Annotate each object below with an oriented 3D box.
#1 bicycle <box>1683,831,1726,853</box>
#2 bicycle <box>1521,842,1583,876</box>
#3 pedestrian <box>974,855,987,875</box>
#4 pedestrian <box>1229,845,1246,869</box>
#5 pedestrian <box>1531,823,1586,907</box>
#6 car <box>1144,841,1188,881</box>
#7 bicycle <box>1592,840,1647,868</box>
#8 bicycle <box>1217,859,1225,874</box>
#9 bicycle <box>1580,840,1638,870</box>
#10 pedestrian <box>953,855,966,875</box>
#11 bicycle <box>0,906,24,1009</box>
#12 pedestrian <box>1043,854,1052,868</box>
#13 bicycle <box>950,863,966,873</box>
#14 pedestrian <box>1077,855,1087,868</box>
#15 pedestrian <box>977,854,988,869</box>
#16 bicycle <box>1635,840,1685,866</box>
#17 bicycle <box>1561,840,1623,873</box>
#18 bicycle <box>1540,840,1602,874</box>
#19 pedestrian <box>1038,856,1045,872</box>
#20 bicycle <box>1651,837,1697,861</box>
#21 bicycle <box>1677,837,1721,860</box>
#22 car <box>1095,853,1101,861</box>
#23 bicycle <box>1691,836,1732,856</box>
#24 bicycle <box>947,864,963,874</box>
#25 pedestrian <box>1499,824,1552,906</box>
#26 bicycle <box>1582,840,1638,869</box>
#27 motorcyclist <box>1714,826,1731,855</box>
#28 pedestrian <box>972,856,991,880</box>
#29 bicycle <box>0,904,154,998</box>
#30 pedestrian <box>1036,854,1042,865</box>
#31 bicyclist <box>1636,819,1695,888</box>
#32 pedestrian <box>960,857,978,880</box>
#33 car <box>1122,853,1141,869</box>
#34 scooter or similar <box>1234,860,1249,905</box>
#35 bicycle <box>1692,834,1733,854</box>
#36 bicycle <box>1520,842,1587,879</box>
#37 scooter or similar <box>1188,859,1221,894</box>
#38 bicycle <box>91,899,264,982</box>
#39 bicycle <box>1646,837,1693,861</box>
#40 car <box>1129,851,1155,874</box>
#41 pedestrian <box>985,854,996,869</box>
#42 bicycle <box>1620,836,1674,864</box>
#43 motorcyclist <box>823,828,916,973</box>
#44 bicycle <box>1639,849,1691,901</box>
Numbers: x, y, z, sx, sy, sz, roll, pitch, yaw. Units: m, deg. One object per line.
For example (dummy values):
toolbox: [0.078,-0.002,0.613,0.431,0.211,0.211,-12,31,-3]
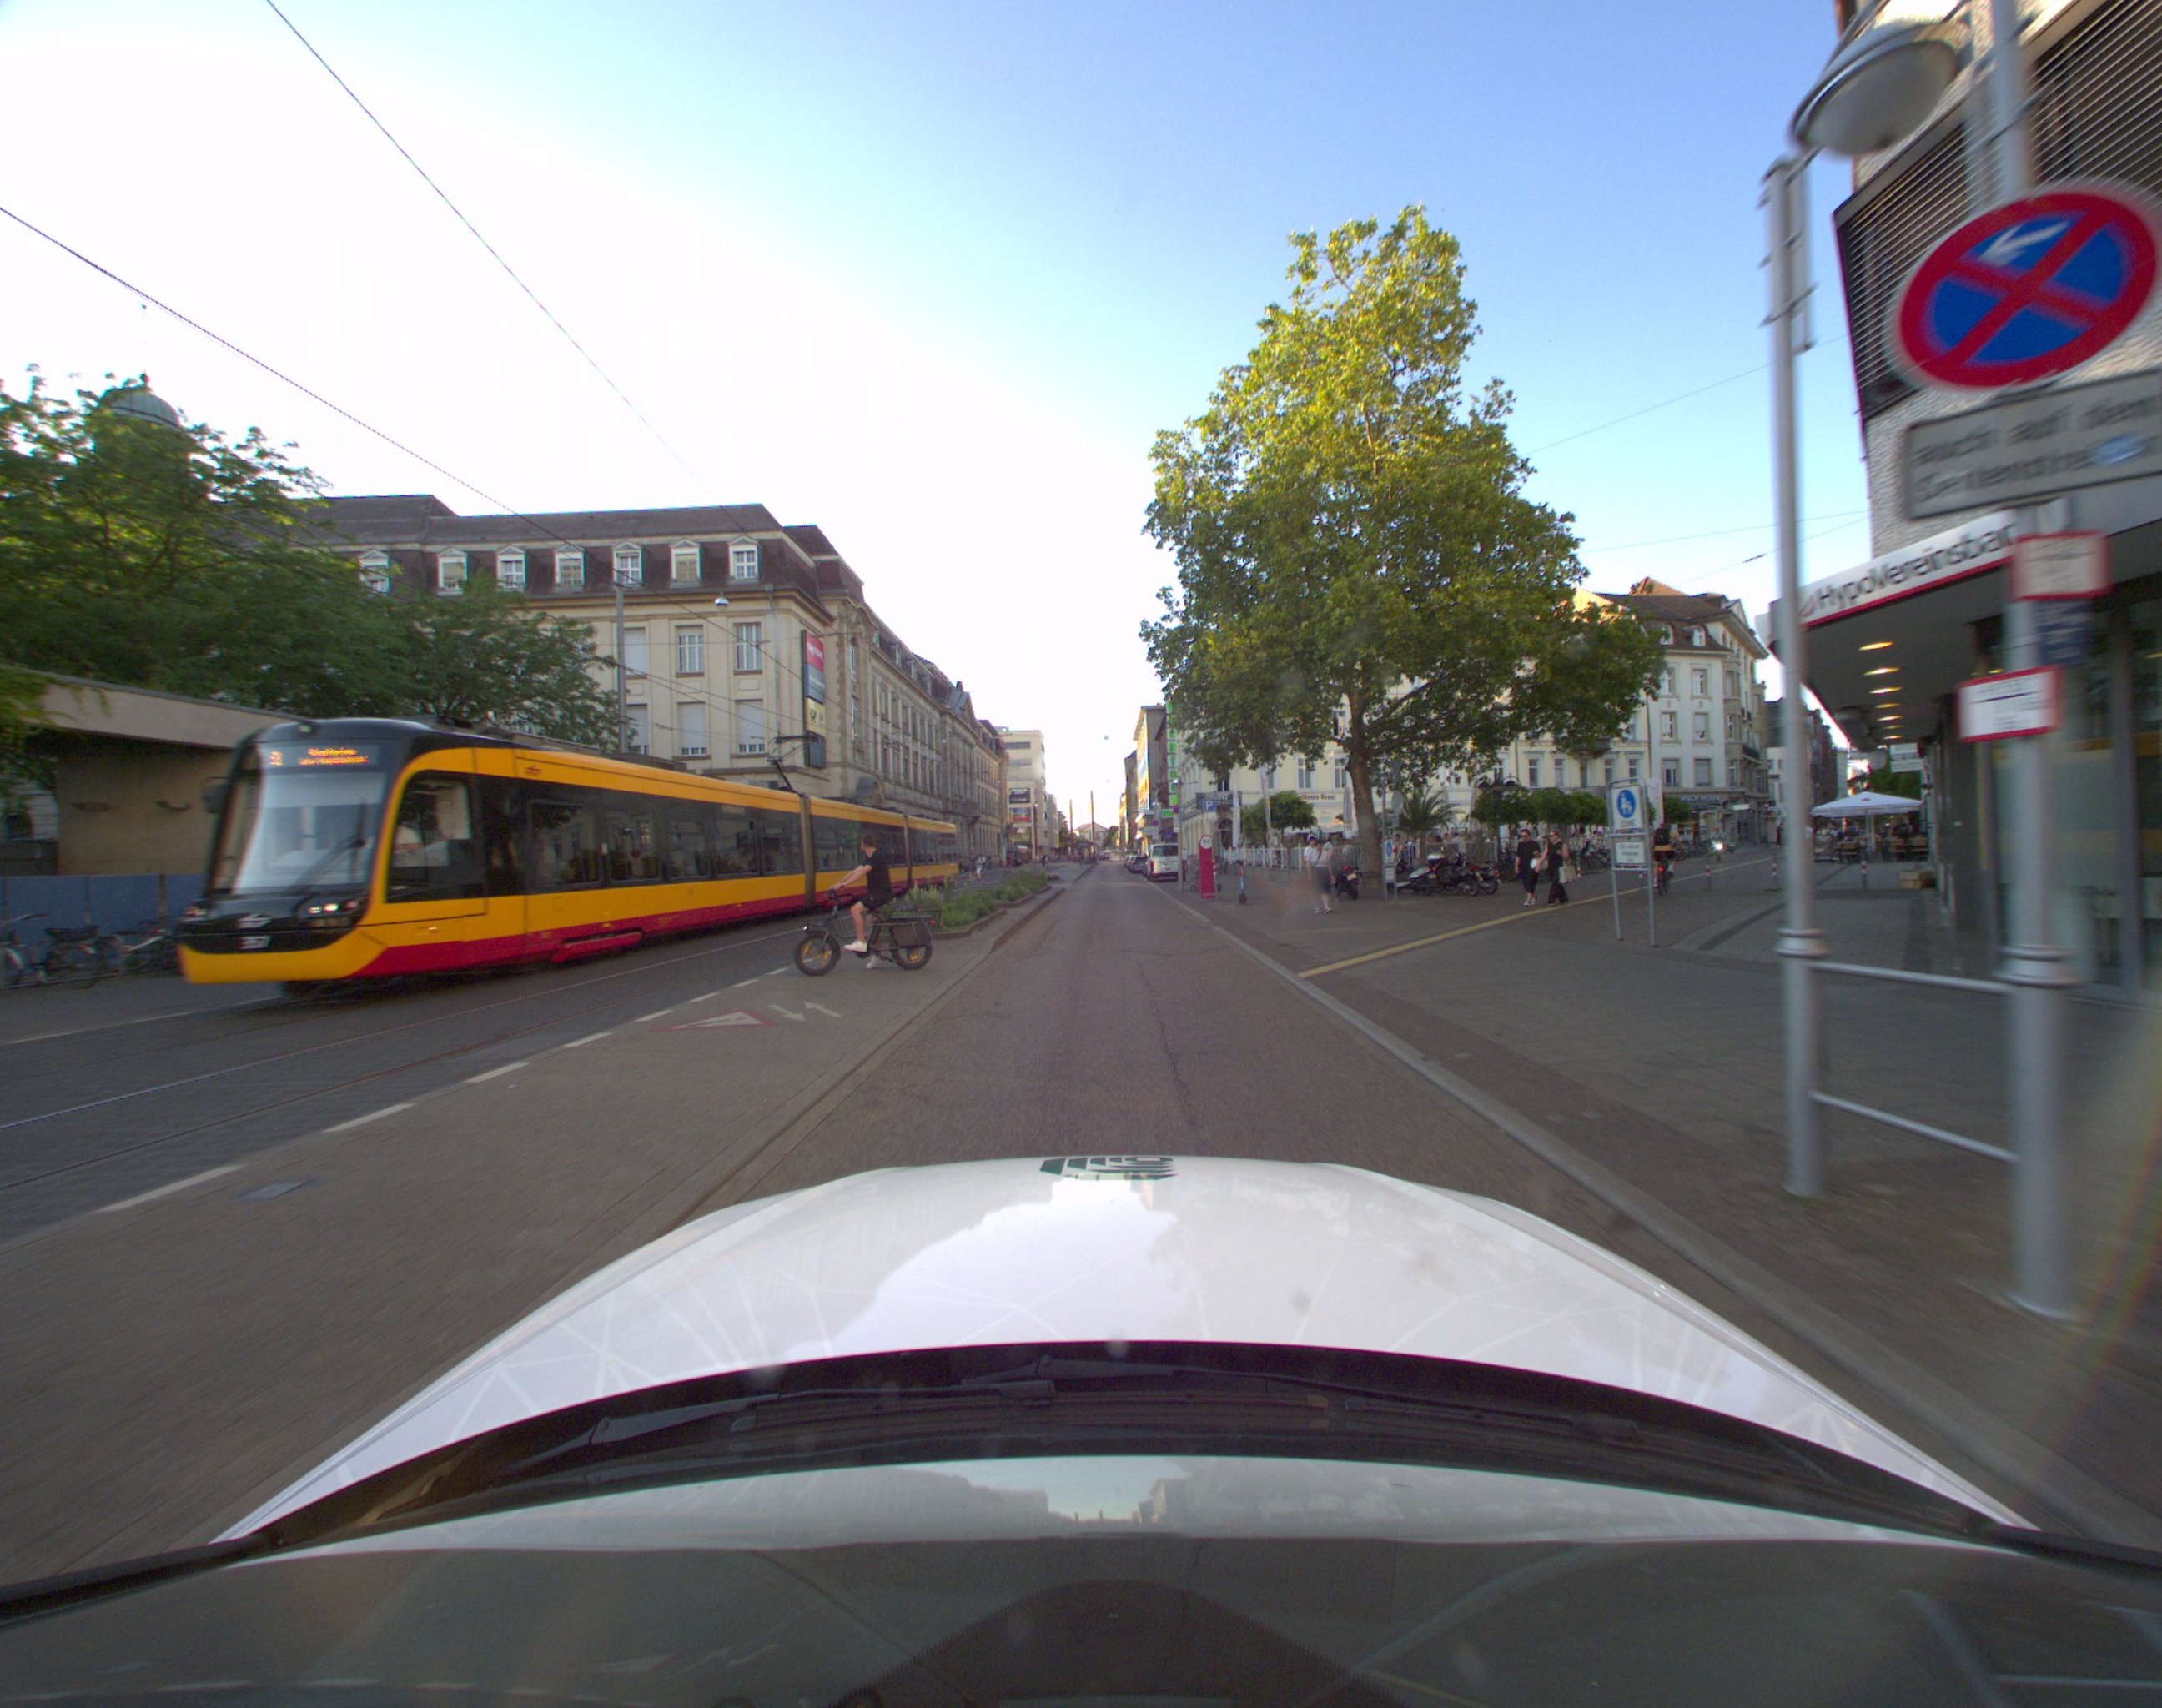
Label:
bicycle: [38.653,-0.728,50.534,2.089,1.291,0.445,-2,0,36]
bicycle: [18.441,0.176,31.941,0.444,1.291,2.095,-4,2,-34]
pedestrian: [-8.921,1.002,72.263,1.048,1.686,0.905,-2,-2,-8]
pedestrian: [9.168,0.179,47.676,0.820,1.306,0.870,-2,-2,1]
pedestrian: [10.141,0.236,17.300,0.828,1.724,0.651,-1,-3,-37]
car: [4.482,0.382,43.541,1.908,1.981,4.422,-2,-1,2]
bicycle: [25.355,-0.005,38.357,2.089,1.291,0.445,-1,1,36]
bicycle: [8.448,0.758,49.210,0.249,0.902,1.374,-2,-2,2]
bicycle: [23.232,0.041,35.868,2.089,1.291,0.445,-1,0,36]
pedestrian: [-10.612,0.973,71.300,1.048,1.686,0.905,-2,-2,-8]
bicycle: [-14.851,1.357,10.317,2.189,1.300,0.580,-2,-2,1]
pedestrian: [-4.067,0.866,98.405,1.045,1.686,0.908,-1,0,1]
bicycle: [-12.772,1.484,84.624,1.583,0.949,0.358,-2,-1,-11]
pedestrian: [0.128,0.946,107.284,1.041,1.686,0.911,-3,-2,13]
pedestrian: [-11.237,0.888,93.100,1.051,1.686,0.903,-1,0,-18]
bicycle: [30.174,-0.057,42.465,2.089,1.291,0.445,-2,0,36]
bicycle: [20.704,0.096,33.034,0.444,1.291,2.095,-3,2,-34]
bicycle: [19.455,0.128,32.390,0.444,1.291,2.095,-3,2,-34]
pedestrian: [-4.107,0.992,84.127,0.688,1.636,0.579,-2,0,-6]
bicycle: [33.673,-0.281,46.275,2.089,1.291,0.445,-2,0,36]
bicycle: [37.579,-0.326,49.564,2.089,1.291,0.445,-2,0,36]
car: [4.627,0.834,220.438,1.754,1.827,3.571,-2,-2,1]
bicycle: [41.426,-0.524,53.518,2.089,1.291,0.445,-2,0,36]
bicycle: [-12.849,1.512,82.891,1.583,0.949,0.358,-2,-2,-11]
pedestrian: [9.788,0.244,17.925,0.828,1.741,0.651,-1,-3,-37]
bicycle: [23.920,0.039,36.823,2.089,1.291,0.445,-1,0,36]
motorcyclist: [32.473,-0.690,41.235,0.591,1.441,0.607,-3,-2,39]
pedestrian: [-6.571,0.922,53.871,0.710,1.514,1.043,-3,-2,45]
bicycle: [-14.926,1.411,11.845,2.233,1.255,0.580,-2,-2,1]
pedestrian: [-7.843,1.024,152.525,0.907,1.928,0.846,-1,0,-15]
bicyclist: [14.385,0.008,20.039,1.005,1.652,0.980,1,-3,-44]
pedestrian: [-7.449,0.974,54.197,0.750,1.514,0.868,-4,-3,45]
car: [5.799,0.802,94.410,1.986,1.667,4.422,-2,-2,2]
scooter or similar: [4.484,0.779,22.769,0.313,1.221,1.275,-2,0,9]
bicycle: [41.499,-0.645,53.538,2.089,1.291,0.445,-2,0,36]
bicycle: [17.076,0.233,29.462,0.444,1.291,2.095,-3,2,-34]
scooter or similar: [4.592,0.842,30.218,1.120,1.216,0.301,-3,0,2]
bicycle: [-14.971,1.422,13.517,2.233,1.232,0.585,-2,-1,1]
bicycle: [32.472,-0.278,44.949,2.089,1.291,0.445,-2,0,36]
car: [5.083,0.727,68.324,1.986,1.761,4.422,-2,-1,2]
pedestrian: [-10.529,0.889,95.071,1.051,1.686,0.903,-2,0,-18]
bicycle: [27.246,-0.201,39.242,2.089,1.291,0.445,-2,0,36]
motorcyclist: [-2.849,0.601,10.898,1.007,1.813,0.951,-1,-2,-25]
bicycle: [14.450,0.501,20.116,2.209,1.212,0.643,0,-1,-44]
